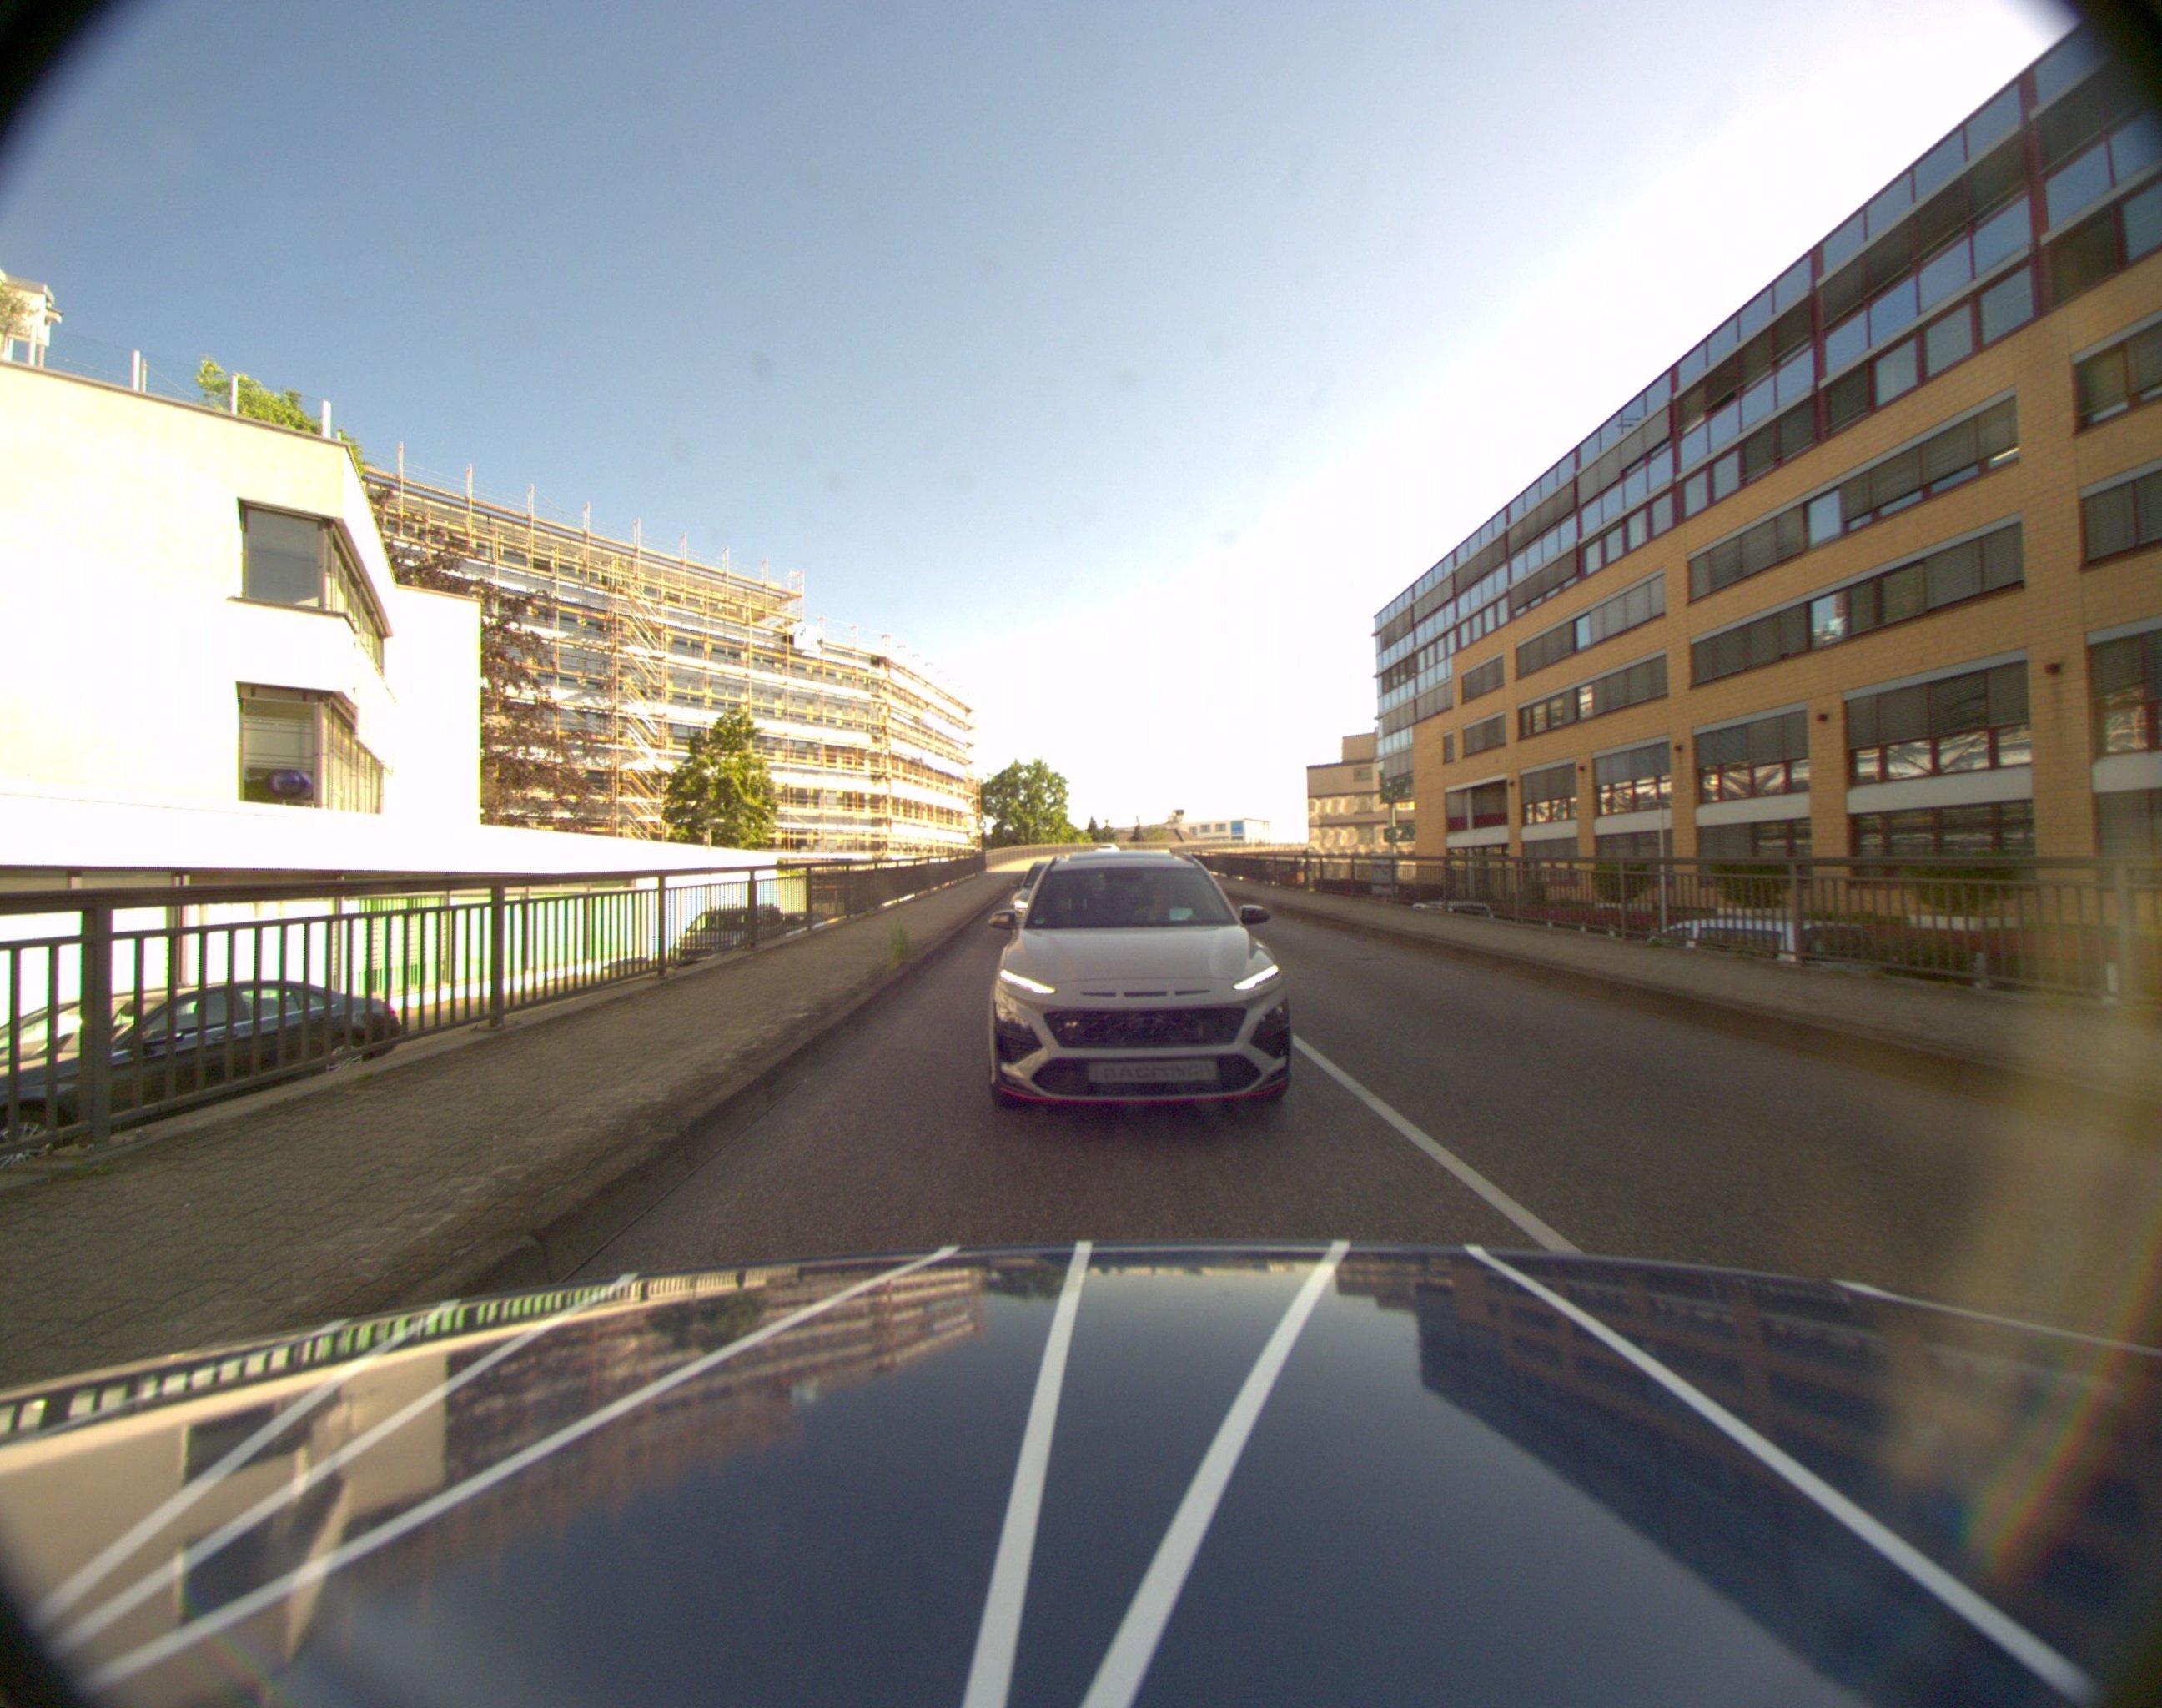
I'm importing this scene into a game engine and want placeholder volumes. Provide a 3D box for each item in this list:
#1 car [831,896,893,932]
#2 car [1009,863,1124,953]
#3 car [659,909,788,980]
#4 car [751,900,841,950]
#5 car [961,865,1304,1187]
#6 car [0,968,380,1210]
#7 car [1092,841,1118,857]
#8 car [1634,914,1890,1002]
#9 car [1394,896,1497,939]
[{"bbox_3d":[-10.212,2.771,35.671,1.726,1.383,4.000,-2,-1,-1],"label":"car"},{"bbox_3d":[-0.287,0.930,14.734,1.902,1.433,4.126,0,0,-1],"label":"car"},{"bbox_3d":[-9.907,2.470,21.422,1.726,1.513,4.000,-2,-1,-1],"label":"car"},{"bbox_3d":[-10.089,2.476,27.211,1.726,1.383,4.000,-2,-1,-1],"label":"car"},{"bbox_3d":[0.289,0.904,5.887,1.749,1.637,4.001,0,-1,1],"label":"car"},{"bbox_3d":[-9.596,2.166,7.412,1.726,1.513,4.001,-2,-1,1],"label":"car"},{"bbox_3d":[2.588,-0.584,79.929,1.949,1.456,4.002,3,3,12],"label":"car"},{"bbox_3d":[13.049,1.934,14.916,1.580,1.261,3.809,0,-1,-1],"label":"car"},{"bbox_3d":[12.742,2.189,26.823,1.766,1.261,3.809,0,-1,-1],"label":"car"}]
